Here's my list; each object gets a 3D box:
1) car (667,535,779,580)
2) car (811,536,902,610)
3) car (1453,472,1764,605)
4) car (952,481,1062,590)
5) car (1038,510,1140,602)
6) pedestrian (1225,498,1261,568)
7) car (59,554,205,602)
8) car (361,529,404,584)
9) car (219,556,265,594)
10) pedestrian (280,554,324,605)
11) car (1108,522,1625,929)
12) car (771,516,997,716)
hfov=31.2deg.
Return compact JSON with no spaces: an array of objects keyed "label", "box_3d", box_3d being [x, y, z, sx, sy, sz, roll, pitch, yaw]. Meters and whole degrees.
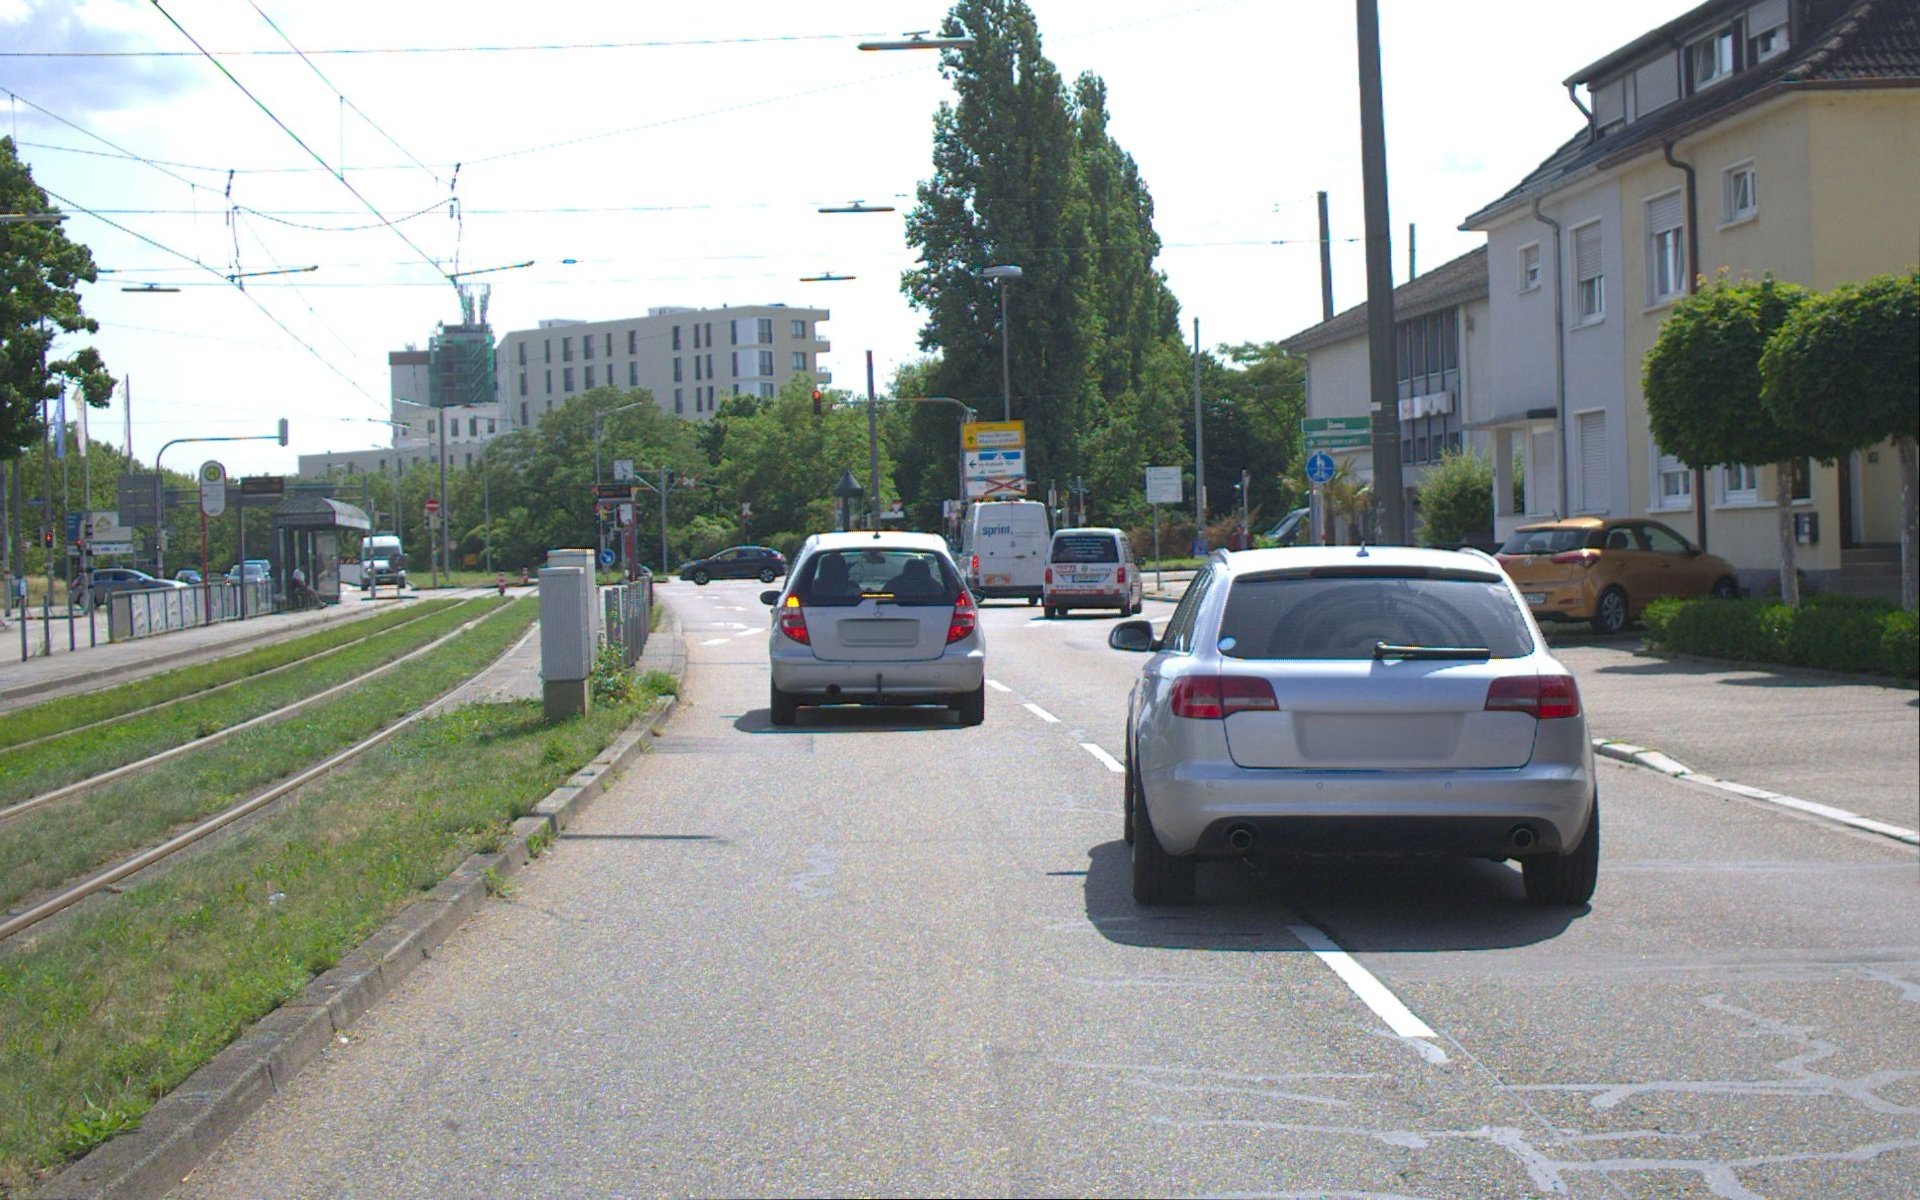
[{"label":"car","box_3d":[-9.436,-1.700,137.119,4.352,1.732,2.000,0,1,-2]},{"label":"car","box_3d":[-2.217,-0.593,73.403,1.885,1.525,4.095,-1,1,-2]},{"label":"car","box_3d":[8.345,-0.818,44.051,1.915,1.453,4.083,1,4,45]},{"label":"car","box_3d":[1.103,-1.599,84.168,2.040,2.548,5.232,-2,2,-6]},{"label":"car","box_3d":[2.645,-0.917,69.713,1.885,1.725,4.094,-2,2,4]},{"label":"pedestrian","box_3d":[7.426,-1.769,90.271,0.721,1.776,0.703,-4,2,-3]},{"label":"car","box_3d":[-30.265,-0.814,125.785,4.862,1.654,2.000,-1,1,-2]},{"label":"car","box_3d":[-27.893,-2.127,165.881,1.993,2.597,4.880,-1,1,-10]},{"label":"car","box_3d":[-32.704,-1.160,156.700,1.862,1.645,4.001,-1,1,-9]},{"label":"pedestrian","box_3d":[-17.836,-0.563,93.201,1.058,1.371,0.860,-1,1,-5]},{"label":"car","box_3d":[1.631,0.427,15.255,1.854,1.487,4.536,-1,2,2]},{"label":"car","box_3d":[-0.688,0.080,29.390,1.787,1.571,4.095,0,2,-2]}]
